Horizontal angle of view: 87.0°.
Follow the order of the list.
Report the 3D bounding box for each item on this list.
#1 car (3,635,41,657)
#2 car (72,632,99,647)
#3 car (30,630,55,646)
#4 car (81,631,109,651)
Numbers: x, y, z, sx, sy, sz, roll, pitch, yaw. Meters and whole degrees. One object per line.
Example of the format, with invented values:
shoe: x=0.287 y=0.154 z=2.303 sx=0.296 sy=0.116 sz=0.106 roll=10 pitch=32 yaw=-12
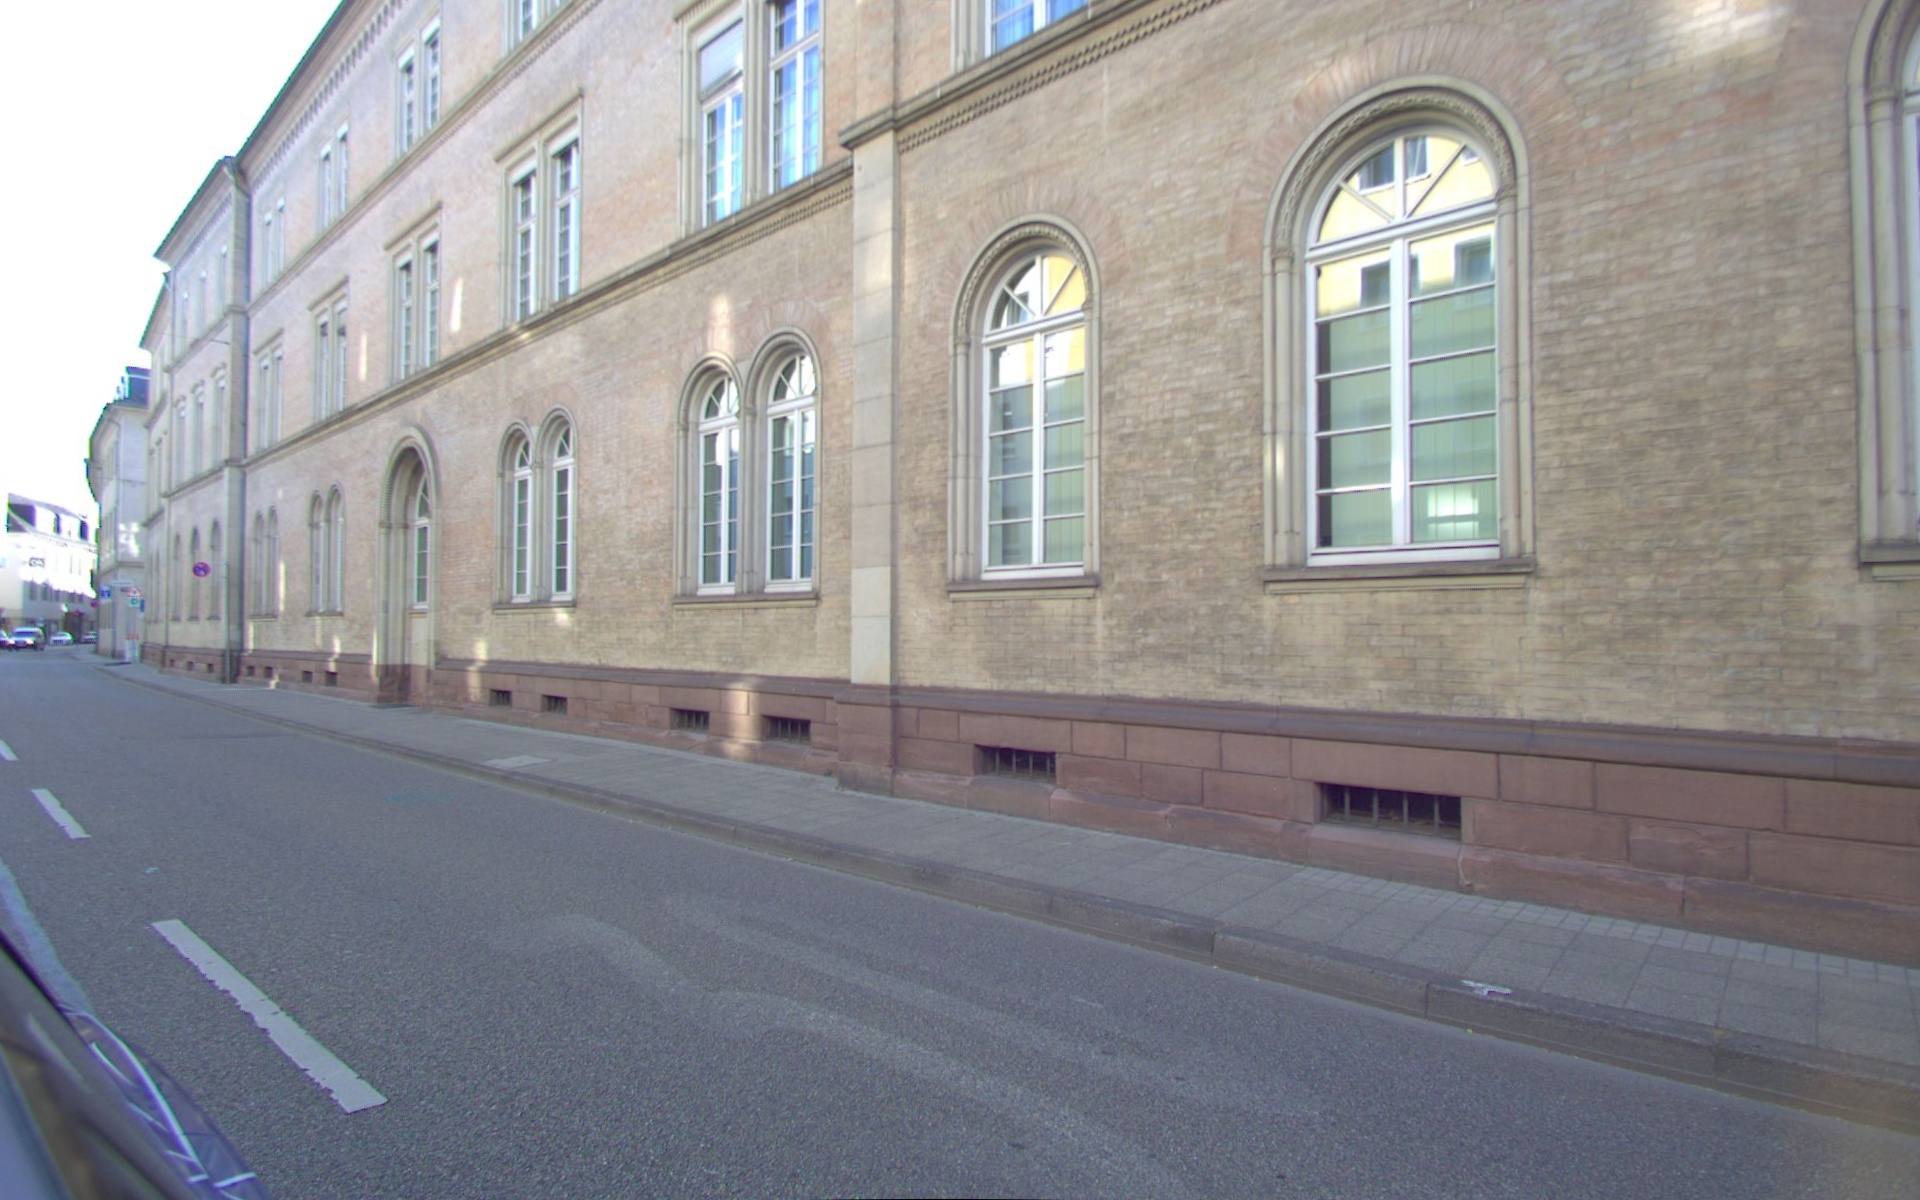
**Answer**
car: x=-74.481 y=3.629 z=80.424 sx=1.894 sy=1.735 sz=4.968 roll=1 pitch=-2 yaw=-40
car: x=-109.329 y=4.921 z=126.568 sx=1.896 sy=1.737 sz=4.242 roll=1 pitch=-2 yaw=-31
car: x=-102.440 y=4.243 z=112.985 sx=1.511 sy=1.737 sz=3.749 roll=1 pitch=-2 yaw=-34
car: x=-80.274 y=3.795 z=93.966 sx=1.638 sy=1.737 sz=3.748 roll=1 pitch=-2 yaw=-36
